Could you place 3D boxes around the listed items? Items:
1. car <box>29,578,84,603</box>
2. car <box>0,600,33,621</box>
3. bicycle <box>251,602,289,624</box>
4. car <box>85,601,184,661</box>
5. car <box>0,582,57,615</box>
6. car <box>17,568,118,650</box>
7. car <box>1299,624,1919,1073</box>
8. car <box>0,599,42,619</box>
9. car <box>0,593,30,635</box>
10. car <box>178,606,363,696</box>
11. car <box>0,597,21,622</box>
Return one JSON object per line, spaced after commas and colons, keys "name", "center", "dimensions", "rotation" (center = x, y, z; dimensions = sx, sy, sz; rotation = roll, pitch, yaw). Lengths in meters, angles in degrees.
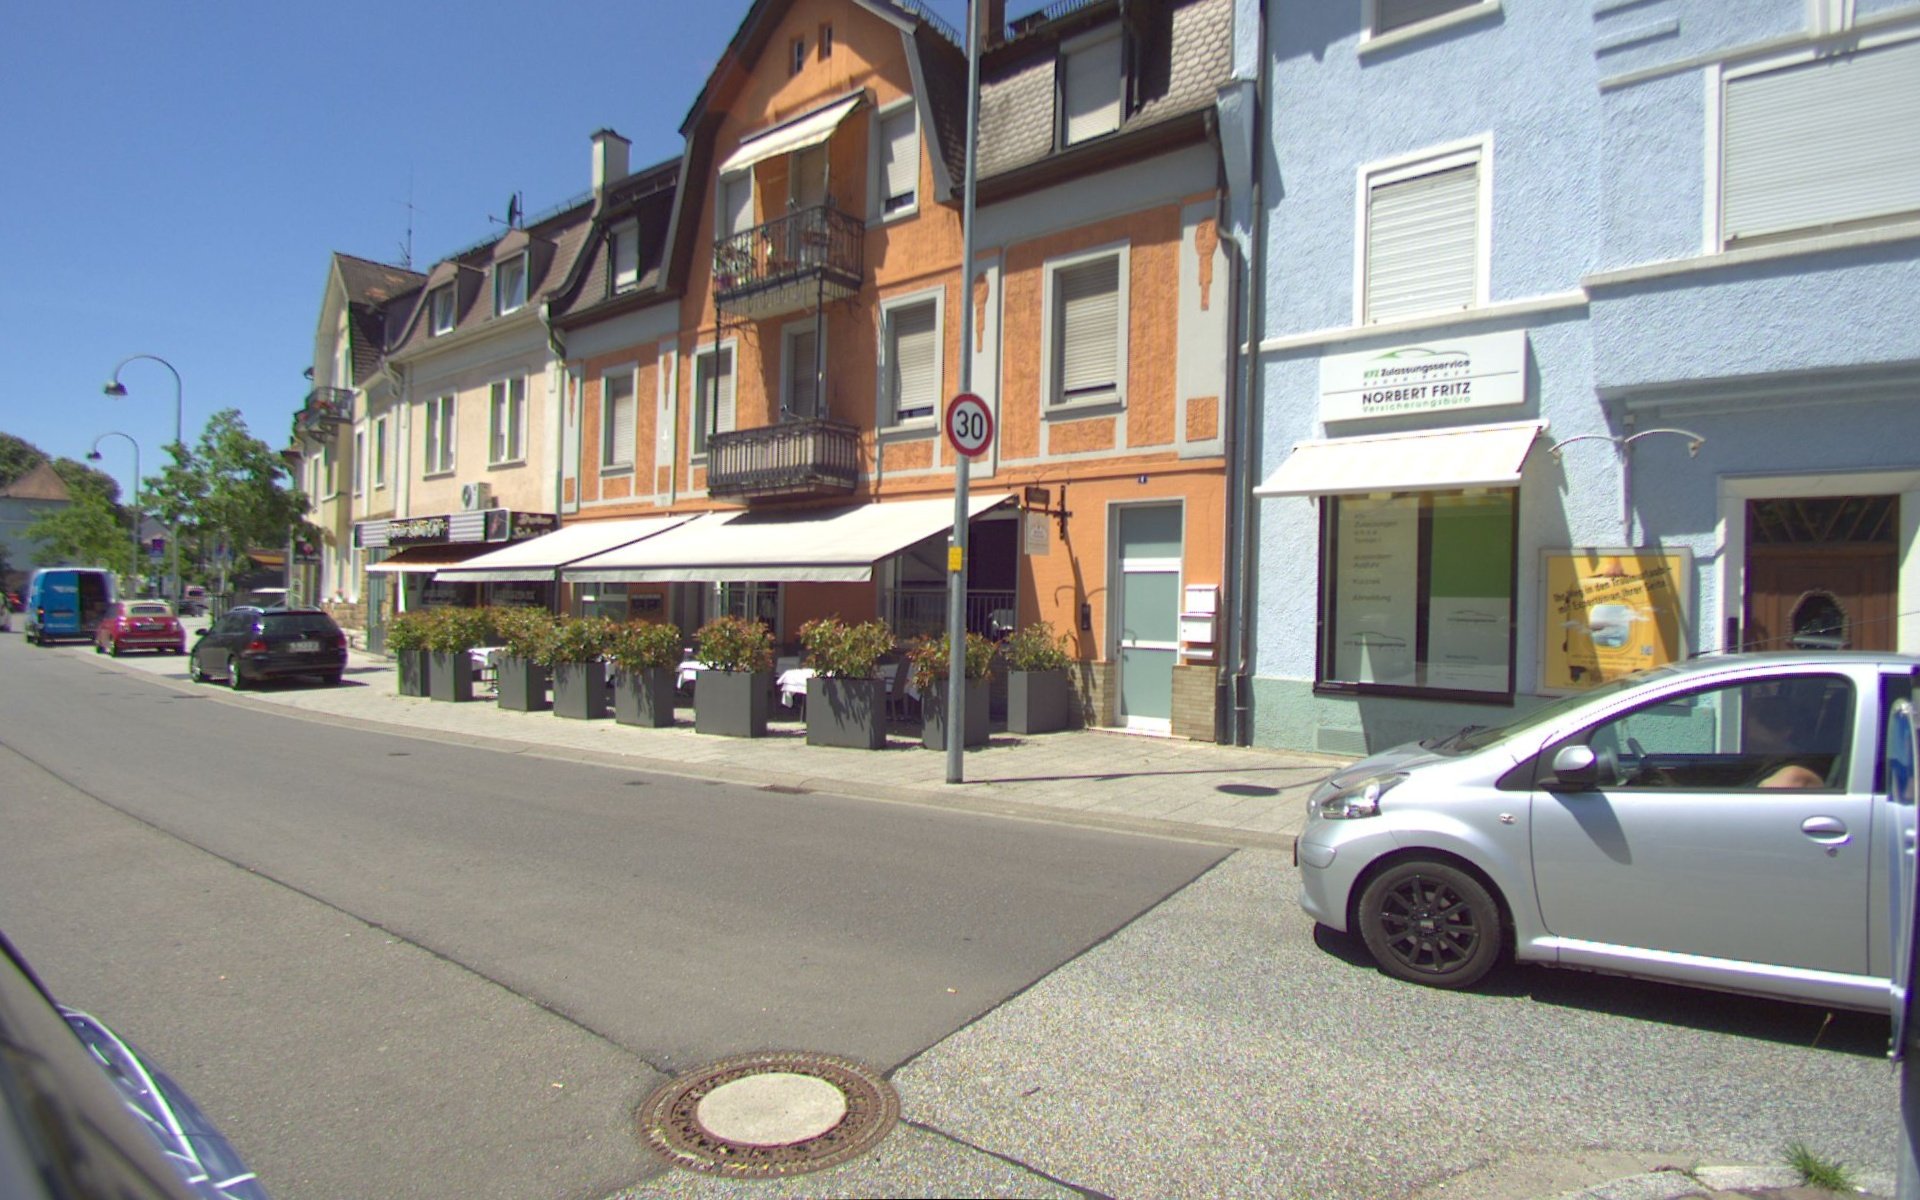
{"name": "car", "center": [-56.958, -0.580, 63.849], "dimensions": [1.889, 1.437, 3.991], "rotation": [2, -2, -32]}
{"name": "car", "center": [-74.894, 0.774, 78.782], "dimensions": [3.756, 1.473, 1.657], "rotation": [3, -1, -33]}
{"name": "bicycle", "center": [-40.573, 0.765, 59.488], "dimensions": [0.616, 1.244, 1.746], "rotation": [0, -1, 42]}
{"name": "car", "center": [-23.144, 0.820, 28.338], "dimensions": [3.513, 1.532, 1.543], "rotation": [1, 0, 41]}
{"name": "car", "center": [-84.020, -0.130, 90.247], "dimensions": [4.788, 2.757, 1.856], "rotation": [3, -2, -31]}
{"name": "car", "center": [-29.858, 0.267, 33.785], "dimensions": [5.504, 2.517, 2.069], "rotation": [0, 0, 44]}
{"name": "car", "center": [3.331, 0.877, 4.187], "dimensions": [3.455, 1.461, 1.565], "rotation": [0, -4, 29]}
{"name": "car", "center": [-77.669, 0.699, 82.288], "dimensions": [4.288, 1.562, 1.656], "rotation": [3, 0, -34]}
{"name": "car", "center": [-44.179, 0.596, 46.056], "dimensions": [1.966, 1.836, 4.427], "rotation": [3, -3, -34]}
{"name": "car", "center": [-13.372, 0.888, 19.531], "dimensions": [4.335, 1.493, 1.896], "rotation": [0, 1, 41]}
{"name": "car", "center": [-71.748, 0.656, 74.353], "dimensions": [3.756, 1.800, 1.846], "rotation": [3, -2, -33]}
